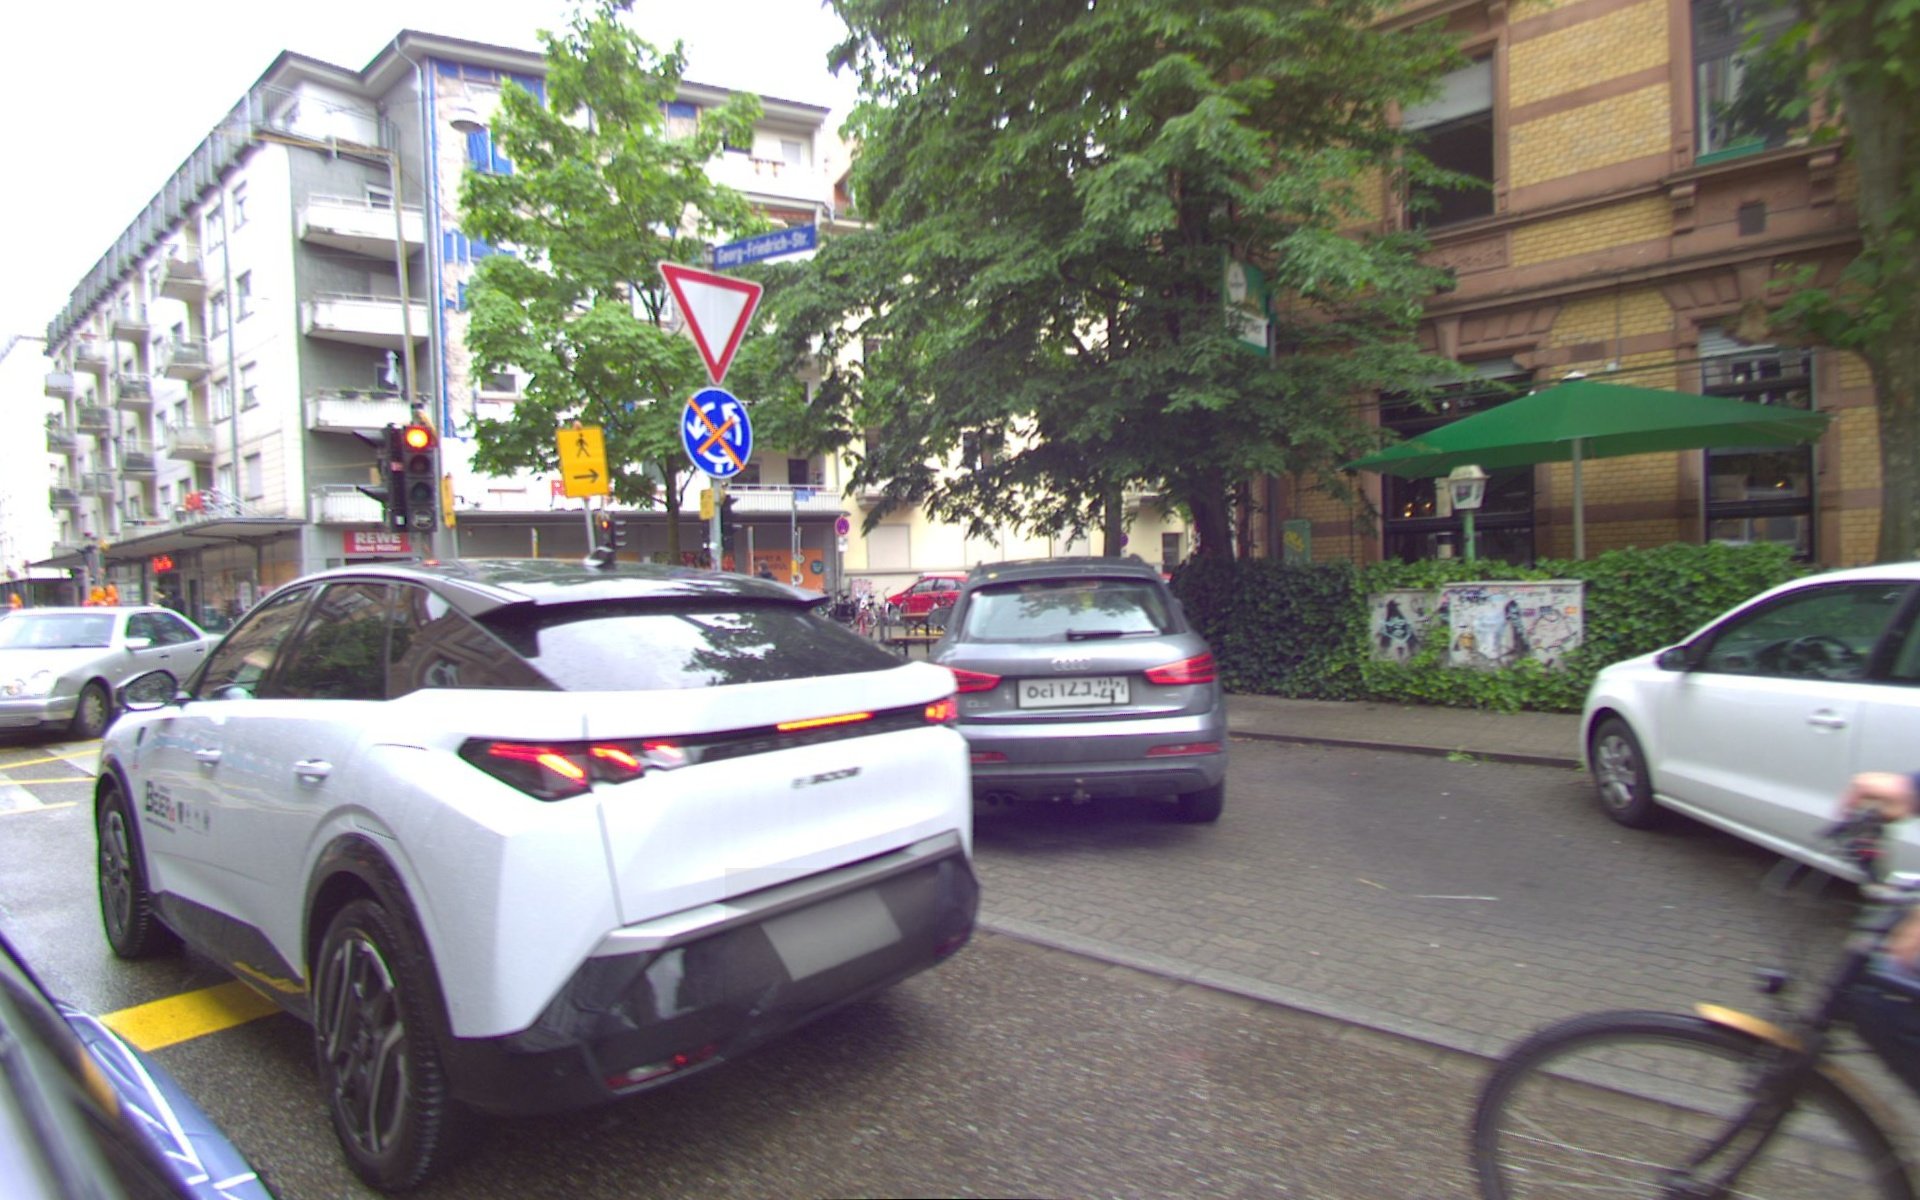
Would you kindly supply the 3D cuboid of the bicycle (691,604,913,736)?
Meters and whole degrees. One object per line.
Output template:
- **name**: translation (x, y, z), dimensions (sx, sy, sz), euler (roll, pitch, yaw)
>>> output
- **bicycle**: translation (-1.476, 0.654, 9.601), dimensions (1.911, 1.152, 0.774), euler (-1, 1, 12)

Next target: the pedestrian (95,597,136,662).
- **pedestrian**: translation (-24.777, 0.851, 29.702), dimensions (0.850, 1.862, 0.770), euler (-3, 1, -42)

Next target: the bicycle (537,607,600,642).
- **bicycle**: translation (-11.795, 0.733, 30.496), dimensions (1.670, 0.978, 0.567), euler (-2, 1, 6)

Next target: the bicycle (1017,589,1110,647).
- **bicycle**: translation (2.190, 0.344, 21.067), dimensions (0.741, 1.100, 2.381), euler (-1, 1, 39)

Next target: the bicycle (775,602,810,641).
- **bicycle**: translation (-4.878, 0.603, 29.343), dimensions (0.579, 0.978, 2.008), euler (-2, 3, -21)

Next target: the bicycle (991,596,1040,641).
- **bicycle**: translation (1.233, 0.401, 22.786), dimensions (0.580, 0.968, 1.728), euler (-2, 1, -15)

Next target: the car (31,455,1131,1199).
- **car**: translation (-1.983, 0.645, 4.031), dimensions (5.003, 1.673, 1.840), euler (-2, -1, 39)

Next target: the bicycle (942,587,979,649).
- **bicycle**: translation (-0.006, 0.408, 22.118), dimensions (0.467, 1.285, 1.870), euler (-2, -1, -10)

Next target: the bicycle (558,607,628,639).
- **bicycle**: translation (-11.330, 0.708, 31.236), dimensions (1.976, 0.978, 0.588), euler (0, 1, 6)

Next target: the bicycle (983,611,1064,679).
- **bicycle**: translation (0.872, 0.588, 13.678), dimensions (0.405, 0.821, 1.378), euler (-2, 1, 36)

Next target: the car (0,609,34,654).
- **car**: translation (-40.307, 1.336, 42.095), dimensions (3.992, 1.803, 1.879), euler (-2, 1, 36)

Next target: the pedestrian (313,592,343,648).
- **pedestrian**: translation (-18.738, 0.584, 30.011), dimensions (0.536, 1.596, 0.696), euler (-2, 1, -15)

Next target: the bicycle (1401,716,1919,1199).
- **bicycle**: translation (1.824, 0.807, 1.160), dimensions (2.267, 1.189, 0.762), euler (-3, -1, 39)

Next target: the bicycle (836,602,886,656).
- **bicycle**: translation (-2.122, 0.603, 21.387), dimensions (0.852, 1.052, 2.418), euler (-2, -1, -10)

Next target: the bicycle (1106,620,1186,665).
- **bicycle**: translation (2.285, 0.500, 12.357), dimensions (0.405, 0.456, 1.378), euler (-1, 1, 36)

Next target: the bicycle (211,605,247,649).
- **bicycle**: translation (-23.825, 0.886, 32.975), dimensions (2.023, 1.384, 0.444), euler (-2, 3, 42)

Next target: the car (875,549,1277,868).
- **car**: translation (0.703, 0.447, 7.259), dimensions (1.974, 1.575, 4.454), euler (-1, 3, 4)

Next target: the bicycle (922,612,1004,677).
- **bicycle**: translation (0.058, 0.611, 14.309), dimensions (0.405, 0.821, 1.378), euler (-2, 1, 36)

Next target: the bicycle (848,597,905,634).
- **bicycle**: translation (-2.503, 0.453, 30.600), dimensions (0.588, 0.978, 1.978), euler (0, 3, 35)

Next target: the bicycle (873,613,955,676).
- **bicycle**: translation (-0.660, 0.640, 14.906), dimensions (0.405, 0.821, 1.378), euler (-2, 1, 36)

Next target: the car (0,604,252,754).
- **car**: translation (-10.524, 0.797, 12.102), dimensions (1.829, 1.409, 4.995), euler (-2, 1, -16)

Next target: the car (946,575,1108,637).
- **car**: translation (1.963, 0.152, 29.554), dimensions (4.311, 1.652, 1.849), euler (-2, -1, -25)

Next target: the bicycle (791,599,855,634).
- **bicycle**: translation (-4.384, 0.517, 32.460), dimensions (1.968, 0.978, 0.591), euler (-3, 3, -34)

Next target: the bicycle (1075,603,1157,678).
- **bicycle**: translation (1.932, 0.477, 12.447), dimensions (0.405, 0.821, 1.378), euler (-1, 1, 36)

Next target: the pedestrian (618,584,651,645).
- **pedestrian**: translation (-9.009, 0.392, 28.009), dimensions (0.786, 1.627, 0.606), euler (-2, 1, -15)

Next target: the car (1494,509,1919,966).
- **car**: translation (4.409, 0.396, 4.416), dimensions (1.976, 1.574, 4.718), euler (-3, 2, 6)

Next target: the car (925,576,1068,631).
- **car**: translation (1.197, 0.117, 34.128), dimensions (4.448, 1.684, 1.976), euler (-2, 1, 35)

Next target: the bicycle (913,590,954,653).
- **bicycle**: translation (-0.603, 0.477, 22.126), dimensions (0.580, 1.285, 2.007), euler (-2, -1, -10)

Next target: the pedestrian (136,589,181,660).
- **pedestrian**: translation (-22.009, 0.655, 27.801), dimensions (0.707, 1.911, 0.606), euler (-2, 1, -15)

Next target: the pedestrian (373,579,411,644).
- **pedestrian**: translation (-16.895, 0.331, 30.111), dimensions (0.682, 1.777, 0.867), euler (-2, 9, -15)

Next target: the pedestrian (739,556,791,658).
- **pedestrian**: translation (-4.045, 0.130, 20.949), dimensions (0.929, 2.029, 0.866), euler (-2, 1, -15)

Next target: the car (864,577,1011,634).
- **car**: translation (-0.759, 0.186, 32.788), dimensions (4.448, 1.693, 1.977), euler (-2, 1, 35)

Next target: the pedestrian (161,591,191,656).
- **pedestrian**: translation (-23.005, 0.690, 29.680), dimensions (0.595, 1.862, 0.770), euler (-3, 1, -41)
